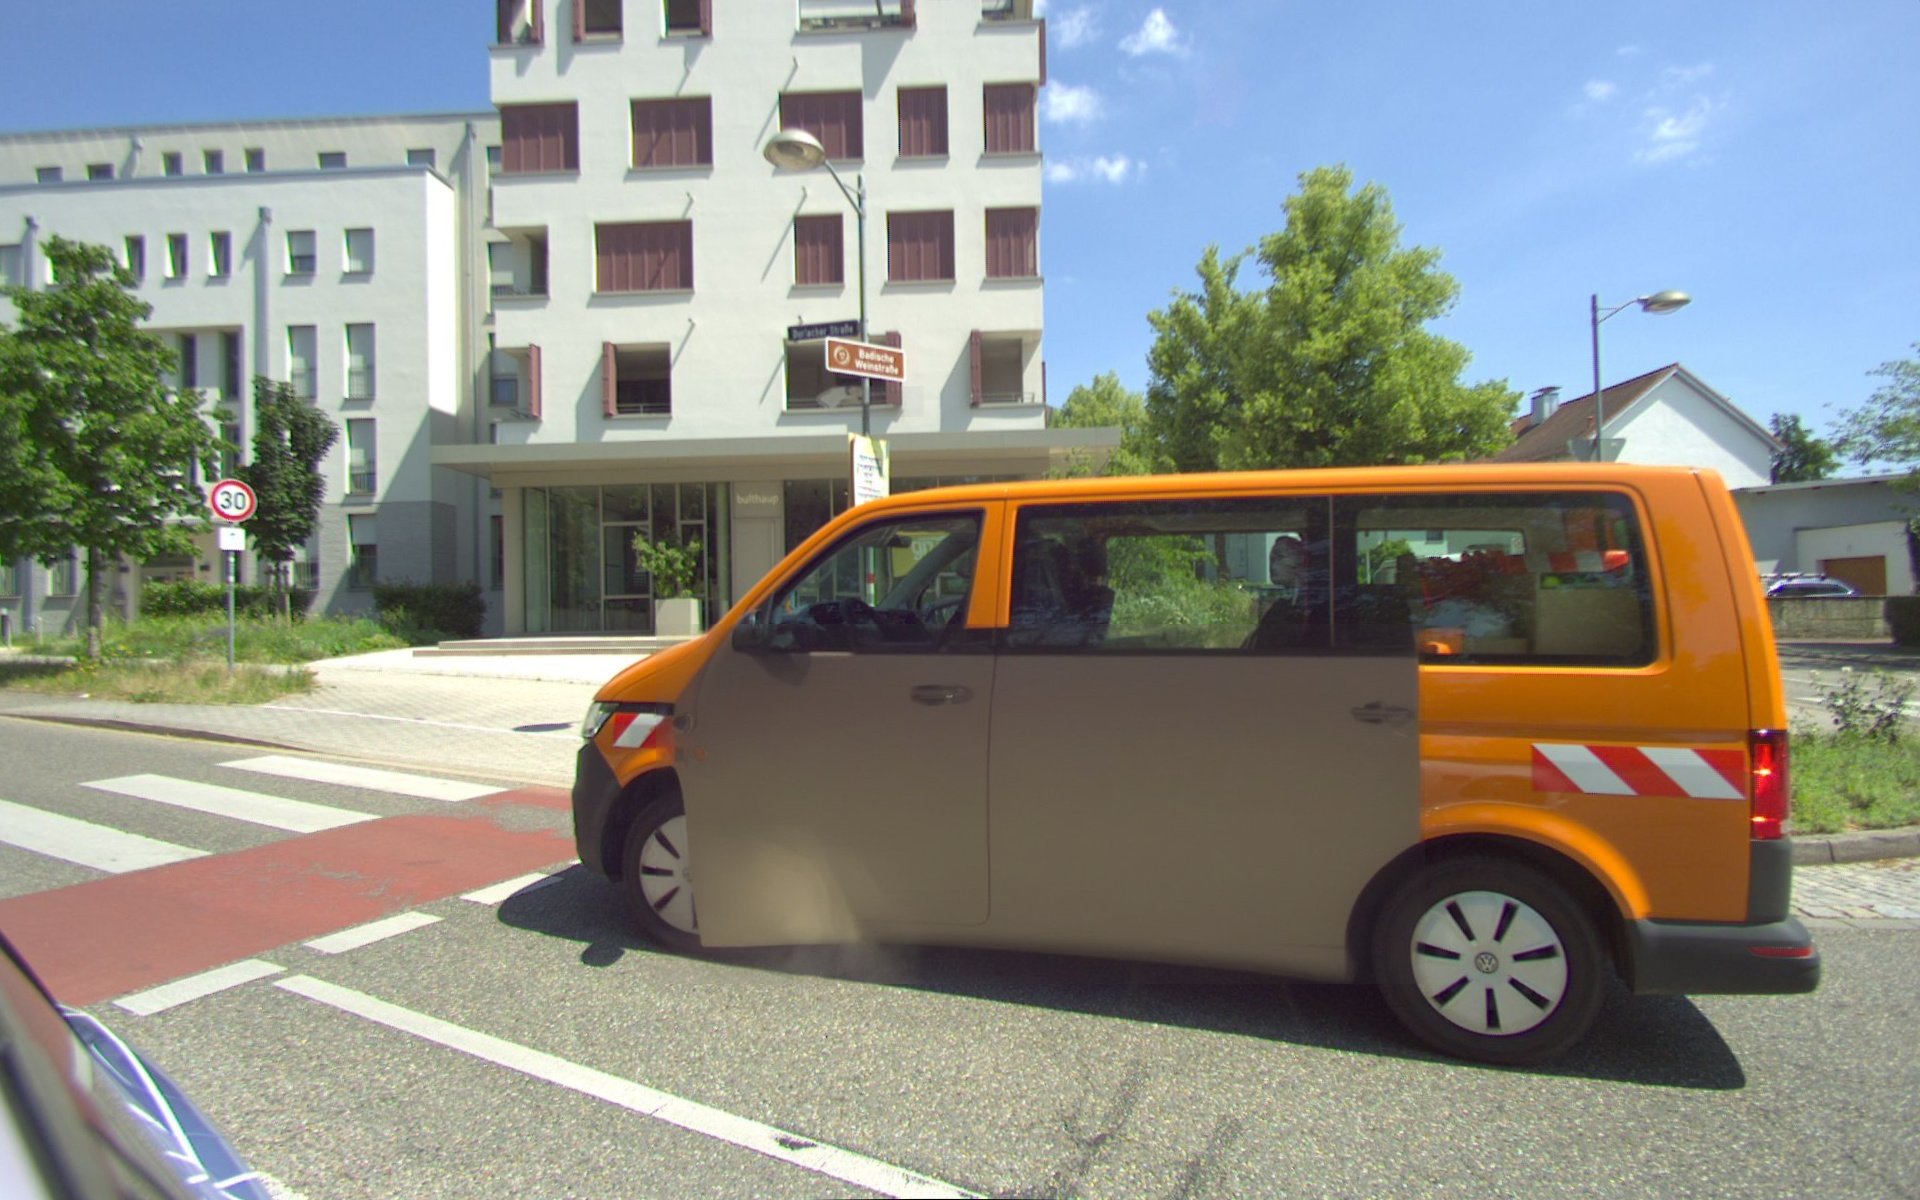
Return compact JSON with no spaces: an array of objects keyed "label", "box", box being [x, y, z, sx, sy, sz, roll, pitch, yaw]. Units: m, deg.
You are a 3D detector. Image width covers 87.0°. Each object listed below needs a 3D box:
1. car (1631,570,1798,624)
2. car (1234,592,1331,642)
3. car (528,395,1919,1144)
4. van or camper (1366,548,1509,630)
[{"label":"car","box":[23.407,-0.103,31.465,3.932,1.598,1.758,0,0,-4]},{"label":"car","box":[10.442,0.508,33.051,1.731,1.516,3.994,0,0,-2]},{"label":"car","box":[0.880,0.431,4.276,4.982,1.974,1.938,0,1,19]},{"label":"van or camper","box":[17.491,-0.388,37.484,2.242,2.658,5.887,-3,0,-1]}]
